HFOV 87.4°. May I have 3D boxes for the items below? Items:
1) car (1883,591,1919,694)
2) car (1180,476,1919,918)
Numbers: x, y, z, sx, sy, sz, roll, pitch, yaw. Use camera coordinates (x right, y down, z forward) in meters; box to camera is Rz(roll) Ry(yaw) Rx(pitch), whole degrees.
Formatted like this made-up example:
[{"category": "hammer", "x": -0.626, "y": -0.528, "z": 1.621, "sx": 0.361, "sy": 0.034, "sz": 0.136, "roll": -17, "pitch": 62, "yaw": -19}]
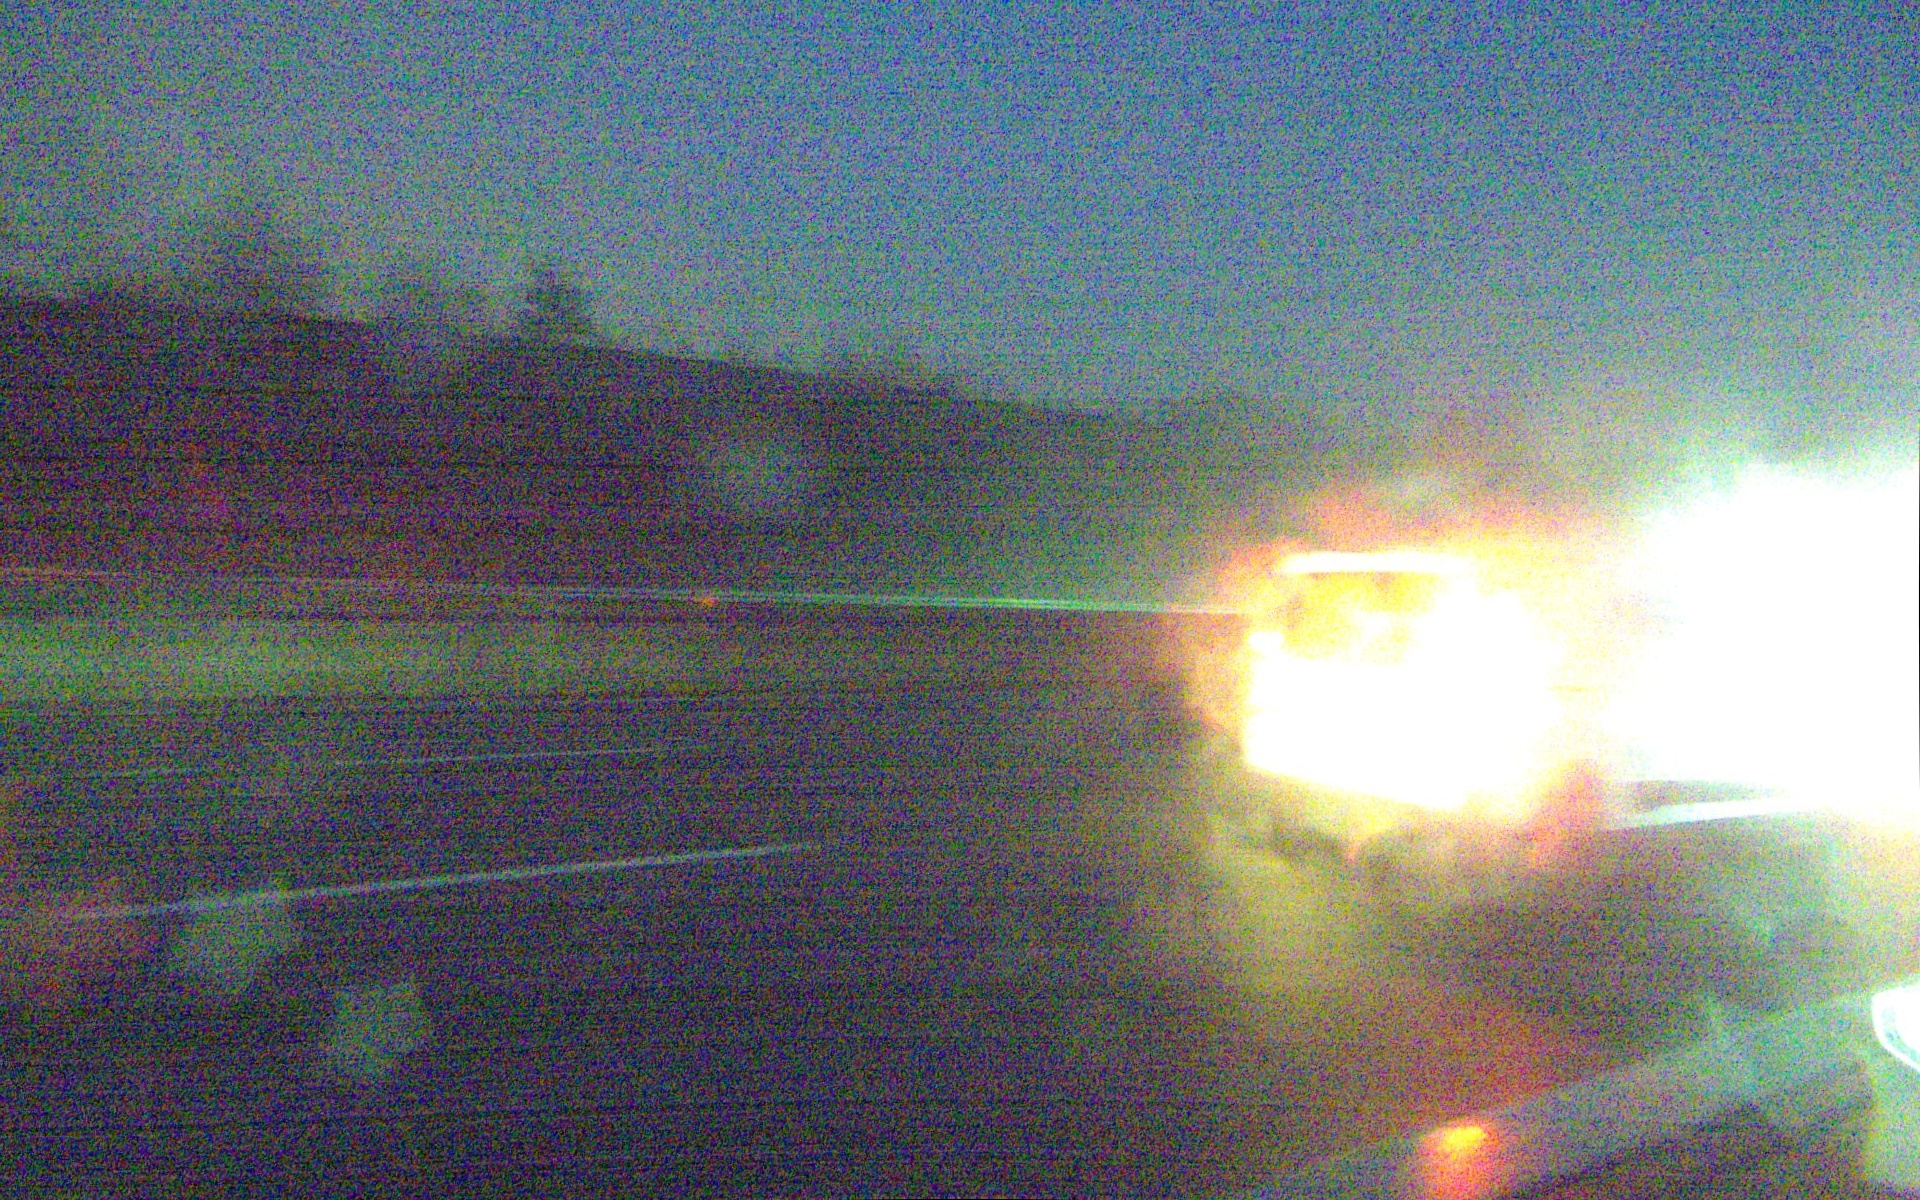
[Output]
[{"category": "car", "x": 21.649, "y": 0.971, "z": 20.949, "sx": 4.510, "sy": 2.041, "sz": 1.986, "roll": 2, "pitch": 4, "yaw": -27}, {"category": "car", "x": 4.073, "y": 0.496, "z": 6.674, "sx": 4.954, "sy": 2.040, "sz": 1.985, "roll": 2, "pitch": 1, "yaw": -28}]
